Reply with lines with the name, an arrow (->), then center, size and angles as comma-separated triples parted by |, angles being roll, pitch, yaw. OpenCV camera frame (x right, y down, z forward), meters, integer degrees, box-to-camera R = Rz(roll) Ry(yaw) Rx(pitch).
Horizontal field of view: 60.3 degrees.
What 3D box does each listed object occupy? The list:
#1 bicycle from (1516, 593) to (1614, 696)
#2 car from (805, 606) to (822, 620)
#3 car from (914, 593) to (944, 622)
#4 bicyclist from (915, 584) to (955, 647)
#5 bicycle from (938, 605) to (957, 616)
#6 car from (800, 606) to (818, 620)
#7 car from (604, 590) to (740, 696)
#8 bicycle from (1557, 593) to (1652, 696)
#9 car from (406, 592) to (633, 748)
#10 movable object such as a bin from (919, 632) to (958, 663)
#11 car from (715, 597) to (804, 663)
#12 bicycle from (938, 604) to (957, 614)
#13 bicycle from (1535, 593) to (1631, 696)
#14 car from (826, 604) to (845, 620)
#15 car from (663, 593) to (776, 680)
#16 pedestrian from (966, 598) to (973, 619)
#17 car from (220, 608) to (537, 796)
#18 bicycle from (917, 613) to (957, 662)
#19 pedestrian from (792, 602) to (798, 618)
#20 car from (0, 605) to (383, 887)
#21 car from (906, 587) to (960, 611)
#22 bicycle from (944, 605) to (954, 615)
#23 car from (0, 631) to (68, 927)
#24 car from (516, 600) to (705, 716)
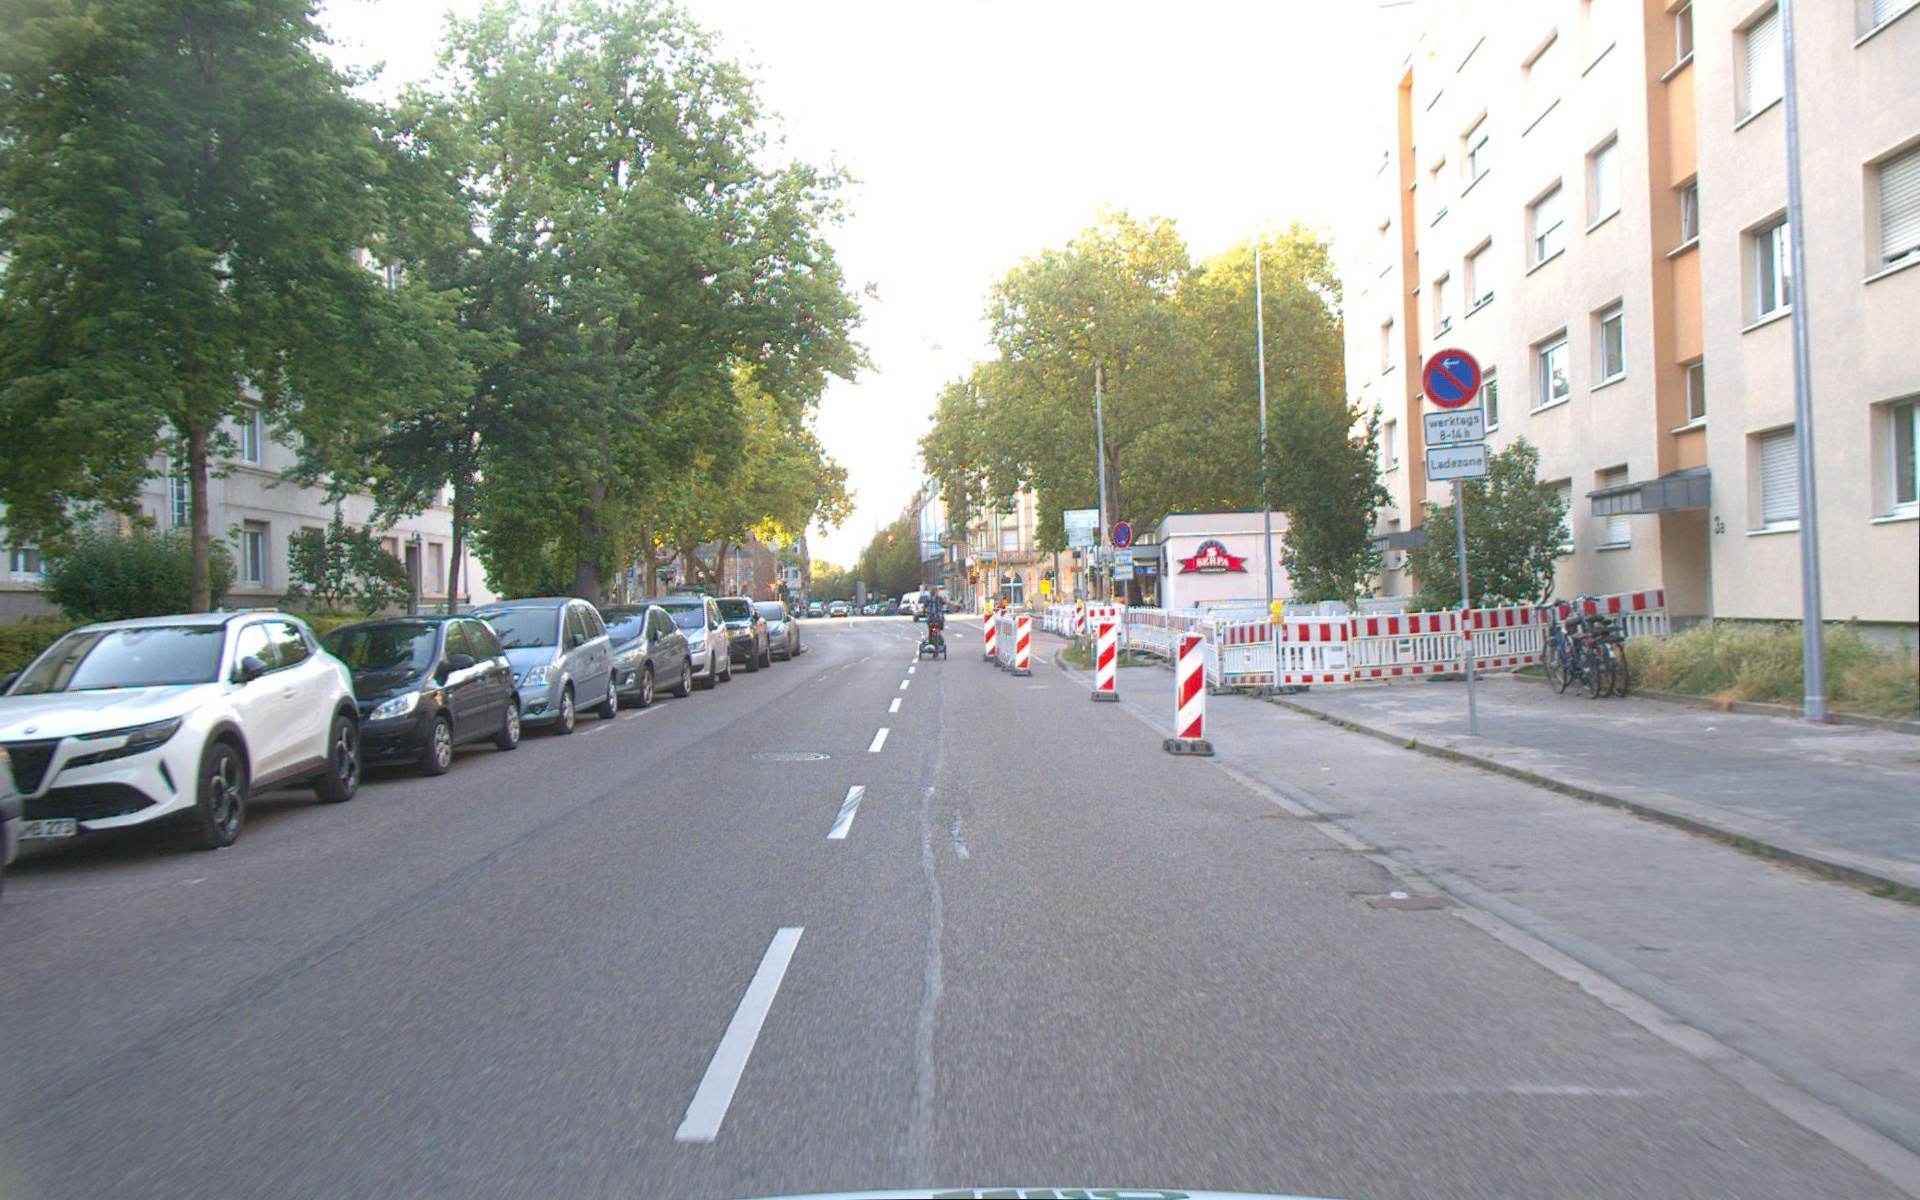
bicycle -> 7.634, 0.541, 20.948 | 0.442, 1.243, 1.910 | -1, 0, -3
car -> -18.269, 1.626, 206.276 | 1.956, 1.680, 3.814 | 0, 0, -9
car -> -2.099, 0.488, 110.281 | 1.829, 1.846, 3.998 | -3, 0, -2
bicyclist -> -0.668, 0.413, 44.000 | 0.920, 1.609, 1.146 | -4, -1, -2
bicycle -> -1.228, 1.038, 166.238 | 1.876, 0.985, 0.545 | -2, 0, -3
car -> -18.108, 1.571, 198.473 | 1.956, 1.680, 3.814 | 0, 0, -9
car -> -5.296, 0.756, 31.026 | 1.810, 1.720, 4.856 | -4, 0, -3
bicycle -> 8.148, 0.538, 20.979 | 0.390, 1.243, 1.825 | -1, 0, -3
car -> -5.385, 0.797, 20.759 | 1.673, 1.628, 4.116 | -5, 0, -1
movable object such as a bin -> -0.555, 1.199, 42.290 | 0.920, 0.701, 0.993 | -4, -1, -2
car -> -5.567, 0.795, 46.438 | 1.914, 1.645, 4.604 | -4, 0, -1
bicycle -> -1.253, 0.919, 165.959 | 1.876, 0.985, 0.545 | -2, 0, -3
bicycle -> 7.902, 0.540, 21.043 | 0.390, 1.243, 1.910 | -1, 0, -3
car -> -13.308, 1.307, 176.757 | 1.748, 1.680, 3.814 | 0, 0, -9
car -> -5.483, 0.795, 38.278 | 1.914, 1.748, 4.769 | -4, 0, -1
pedestrian -> 0.892, 0.754, 152.660 | 0.581, 1.919, 0.585 | -2, 0, 3
car -> -5.534, 0.895, 16.263 | 1.673, 1.477, 3.842 | -5, 0, 0
bicycle -> -0.626, 0.977, 43.974 | 0.920, 1.192, 2.358 | -4, -1, -2
pedestrian -> -19.502, 1.189, 195.872 | 0.581, 1.919, 0.553 | -2, 0, -2
car -> -5.569, 0.887, 11.731 | 1.559, 1.565, 4.204 | -5, 0, -3
car -> -2.754, -0.103, 172.457 | 5.779, 2.328, 2.039 | -2, 0, -44
bicycle -> -1.110, 1.051, 168.387 | 0.532, 0.985, 1.923 | -2, 0, 13
car -> -5.469, 0.936, 6.536 | 1.558, 1.428, 4.180 | -5, 0, -1
car -> -5.281, 0.818, 25.565 | 1.696, 1.523, 4.272 | -4, 0, 3
